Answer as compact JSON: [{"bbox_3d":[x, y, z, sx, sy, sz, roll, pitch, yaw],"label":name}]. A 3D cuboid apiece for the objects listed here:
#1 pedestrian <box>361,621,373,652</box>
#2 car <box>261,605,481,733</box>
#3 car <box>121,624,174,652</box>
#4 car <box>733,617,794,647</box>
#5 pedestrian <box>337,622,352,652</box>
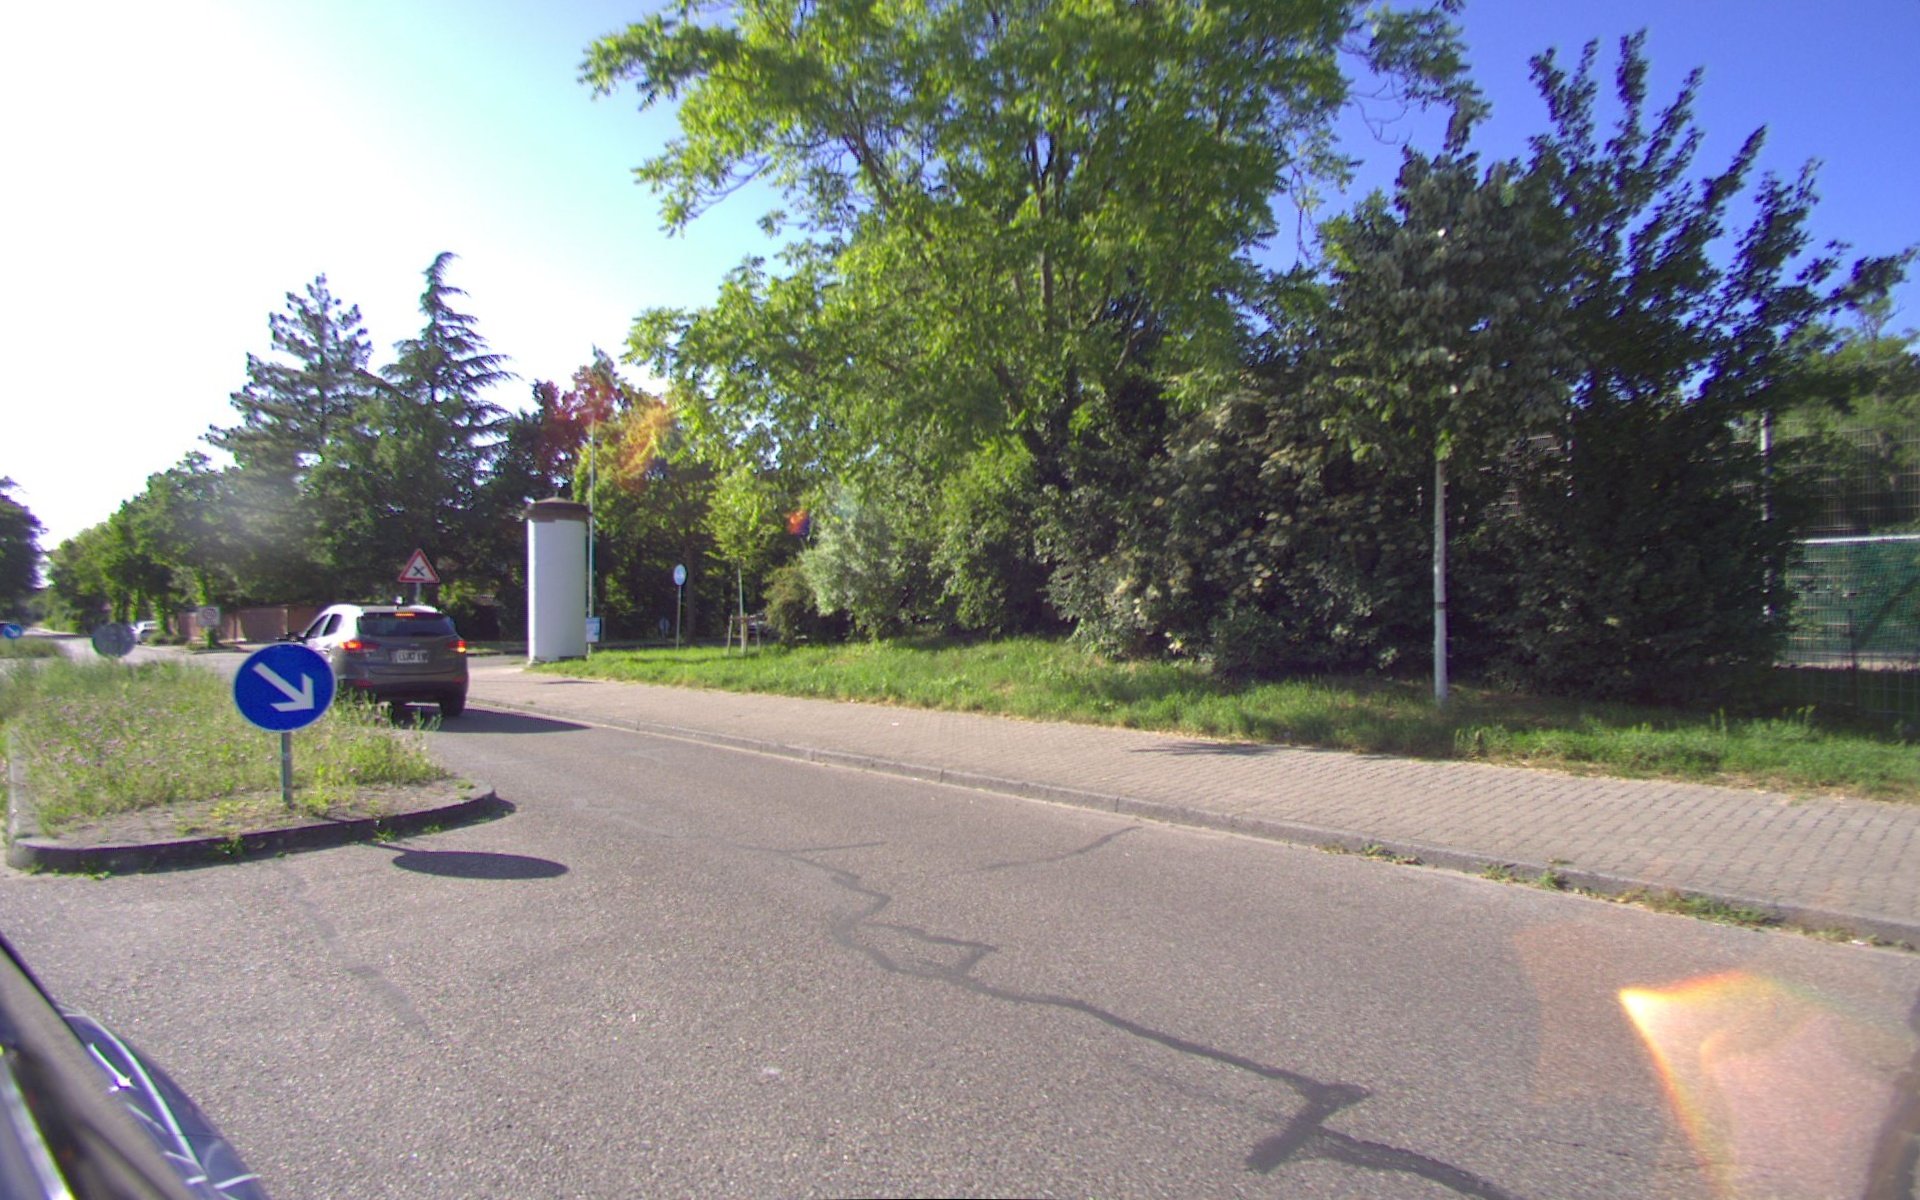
[{"bbox_3d":[-30.057,1.846,51.285,0.390,1.573,0.539,1,-1,-41],"label":"pedestrian"},{"bbox_3d":[-9.286,0.985,15.807,4.186,1.718,1.891,-1,-2,44],"label":"car"},{"bbox_3d":[-51.409,2.387,64.000,3.998,1.671,1.973,-1,-1,41],"label":"car"},{"bbox_3d":[-12.596,2.039,65.149,1.742,1.762,4.603,-2,-1,20],"label":"car"},{"bbox_3d":[-30.897,1.855,50.824,0.393,1.532,0.534,-1,-1,22],"label":"pedestrian"}]
